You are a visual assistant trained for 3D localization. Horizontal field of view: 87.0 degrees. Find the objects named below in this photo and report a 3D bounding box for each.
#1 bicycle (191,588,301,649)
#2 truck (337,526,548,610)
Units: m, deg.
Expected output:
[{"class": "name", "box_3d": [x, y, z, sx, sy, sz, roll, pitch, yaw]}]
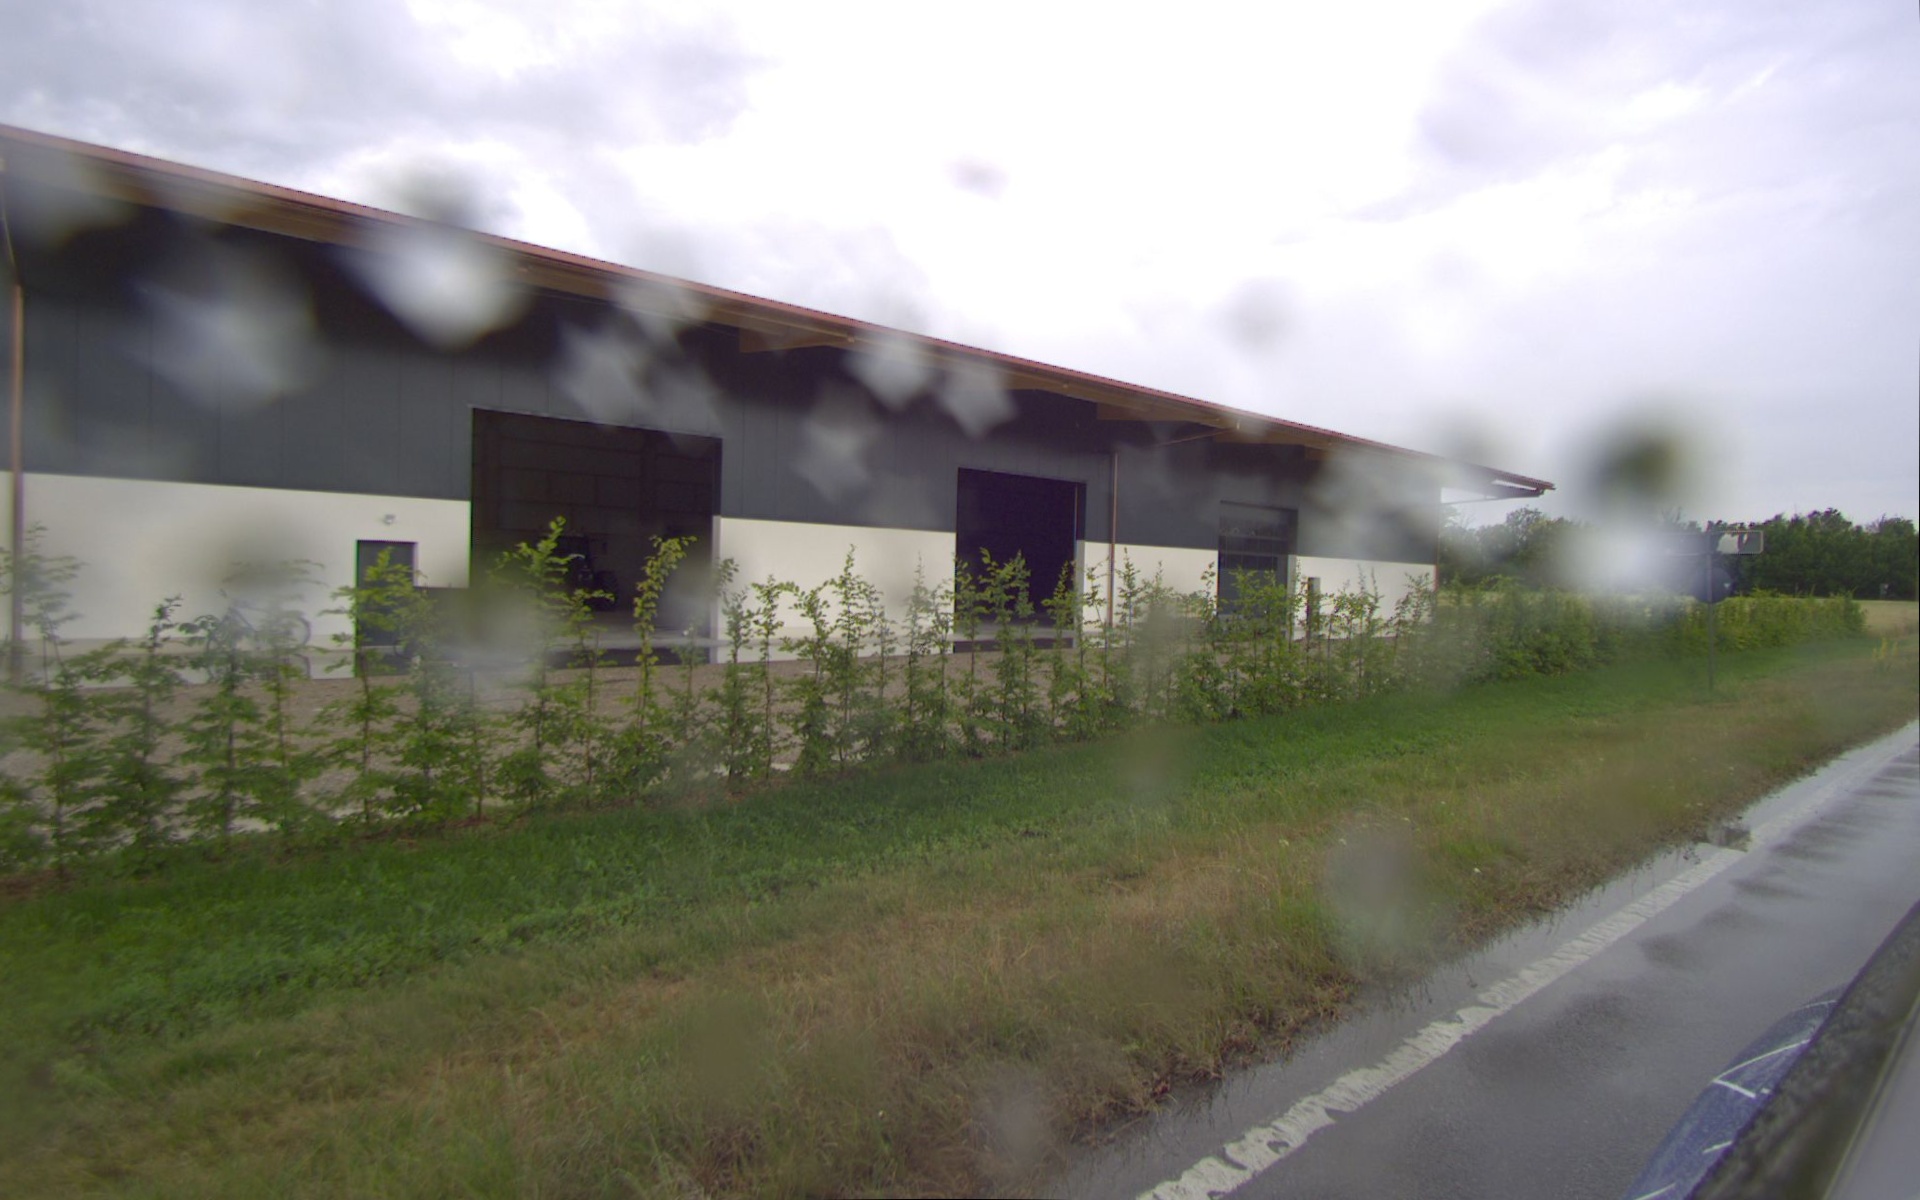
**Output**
[{"class": "bicycle", "box_3d": [-13.195, 0.328, 18.738, 1.631, 1.085, 0.391, 0, 2, -41]}, {"class": "truck", "box_3d": [-17.444, -1.047, 34.312, 6.047, 2.639, 2.122, 0, 2, -40]}]
